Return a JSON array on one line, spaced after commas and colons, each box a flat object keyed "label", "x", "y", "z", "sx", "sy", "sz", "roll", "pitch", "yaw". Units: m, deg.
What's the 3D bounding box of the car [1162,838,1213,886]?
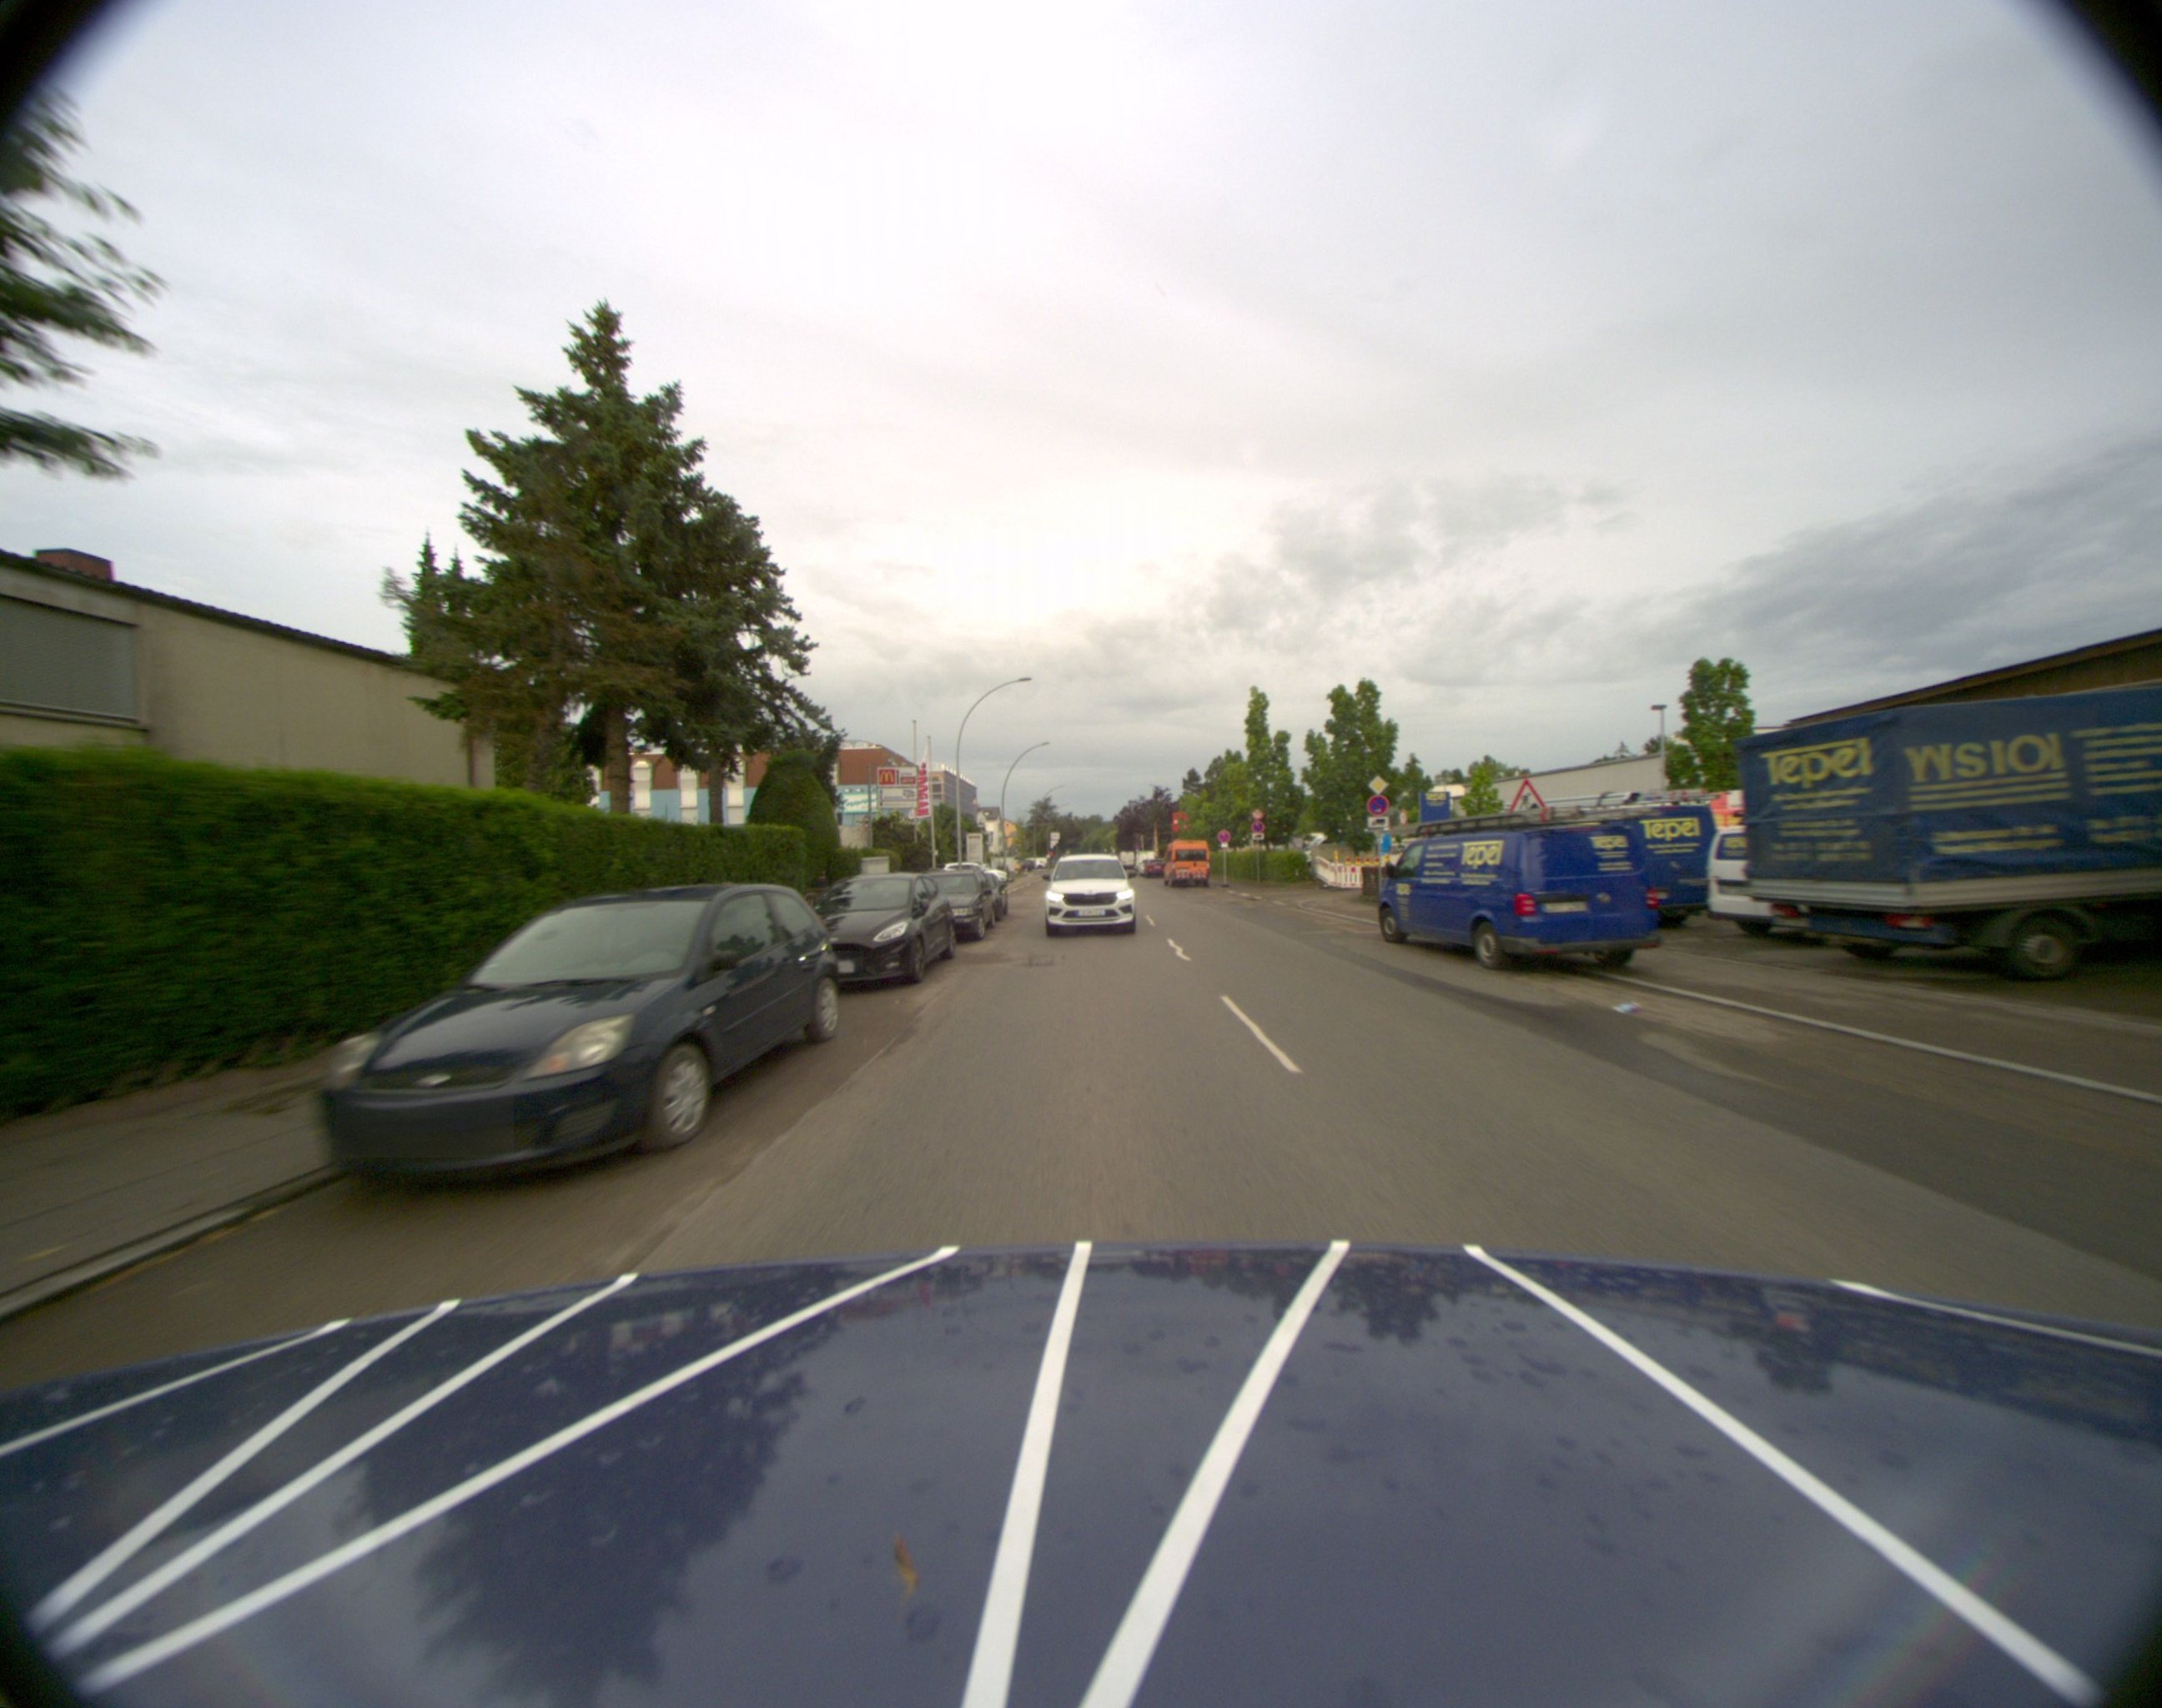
[{"label": "car", "x": 6.060, "y": 0.438, "z": 43.884, "sx": 2.130, "sy": 2.522, "sz": 6.022, "roll": -2, "pitch": 0, "yaw": 1}]

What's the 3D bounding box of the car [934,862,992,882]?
[{"label": "car", "x": -9.670, "y": 1.449, "z": 62.688, "sx": 4.427, "sy": 1.384, "sz": 1.880, "roll": -3, "pitch": 0, "yaw": -1}]

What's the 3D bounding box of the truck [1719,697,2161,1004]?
[{"label": "truck", "x": 11.666, "y": -0.126, "z": 9.054, "sx": 5.926, "sy": 3.056, "sz": 2.449, "roll": -3, "pitch": 1, "yaw": 1}]

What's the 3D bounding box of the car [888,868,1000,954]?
[{"label": "car", "x": -2.836, "y": 1.125, "z": 16.708, "sx": 1.661, "sy": 1.411, "sz": 4.776, "roll": -3, "pitch": 1, "yaw": -2}]

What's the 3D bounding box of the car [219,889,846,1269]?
[{"label": "car", "x": -3.018, "y": 1.089, "z": 5.273, "sx": 1.490, "sy": 1.430, "sz": 3.807, "roll": -3, "pitch": 0, "yaw": 0}]

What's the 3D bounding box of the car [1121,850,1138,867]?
[{"label": "car", "x": 7.037, "y": 0.626, "z": 110.978, "sx": 2.163, "sy": 2.413, "sz": 6.459, "roll": 1, "pitch": 0, "yaw": 1}]

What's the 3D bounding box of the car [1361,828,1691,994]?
[{"label": "car", "x": 6.451, "y": 0.688, "z": 12.002, "sx": 1.998, "sy": 1.936, "sz": 5.365, "roll": -3, "pitch": 0, "yaw": 0}]

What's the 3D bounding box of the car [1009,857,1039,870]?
[{"label": "car", "x": -8.465, "y": 1.464, "z": 112.597, "sx": 4.237, "sy": 1.665, "sz": 1.980, "roll": -3, "pitch": 1, "yaw": 0}]

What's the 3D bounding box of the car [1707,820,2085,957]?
[{"label": "car", "x": 12.142, "y": 0.484, "z": 11.538, "sx": 3.718, "sy": 1.740, "sz": 1.778, "roll": -3, "pitch": 1, "yaw": 2}]

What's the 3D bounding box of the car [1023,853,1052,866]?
[{"label": "car", "x": -7.335, "y": 0.948, "z": 129.007, "sx": 4.743, "sy": 1.875, "sz": 2.000, "roll": -3, "pitch": 1, "yaw": 1}]

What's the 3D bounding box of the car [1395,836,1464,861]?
[{"label": "car", "x": 24.887, "y": -0.416, "z": 54.339, "sx": 4.066, "sy": 1.542, "sz": 1.885, "roll": -3, "pitch": 1, "yaw": -4}]

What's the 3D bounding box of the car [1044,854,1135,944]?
[{"label": "car", "x": 0.119, "y": 0.884, "z": 16.918, "sx": 1.692, "sy": 1.651, "sz": 3.999, "roll": -3, "pitch": 1, "yaw": -1}]

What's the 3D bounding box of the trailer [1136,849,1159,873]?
[{"label": "trailer", "x": 6.562, "y": 0.667, "z": 74.982, "sx": 1.817, "sy": 2.300, "sz": 4.730, "roll": 1, "pitch": 0, "yaw": 0}]

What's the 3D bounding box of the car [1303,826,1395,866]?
[{"label": "car", "x": 14.853, "y": -0.443, "z": 42.236, "sx": 4.317, "sy": 2.002, "sz": 2.062, "roll": -3, "pitch": 1, "yaw": 1}]

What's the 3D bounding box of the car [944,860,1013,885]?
[{"label": "car", "x": -6.939, "y": 1.222, "z": 51.692, "sx": 4.349, "sy": 1.467, "sz": 1.902, "roll": -2, "pitch": 1, "yaw": 0}]

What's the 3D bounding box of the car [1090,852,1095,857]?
[{"label": "car", "x": 3.921, "y": 0.178, "z": 259.960, "sx": 1.898, "sy": 1.678, "sz": 4.231, "roll": 0, "pitch": 1, "yaw": 1}]

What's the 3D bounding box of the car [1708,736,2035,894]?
[{"label": "car", "x": 17.651, "y": -0.779, "z": 17.501, "sx": 2.080, "sy": 2.996, "sz": 5.243, "roll": -3, "pitch": 1, "yaw": 1}]

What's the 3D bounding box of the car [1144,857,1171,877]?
[{"label": "car", "x": 6.373, "y": 1.040, "z": 63.613, "sx": 1.810, "sy": 1.564, "sz": 4.342, "roll": -1, "pitch": 0, "yaw": 0}]

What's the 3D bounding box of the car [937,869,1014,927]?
[{"label": "car", "x": -2.929, "y": 1.180, "z": 21.798, "sx": 1.594, "sy": 1.333, "sz": 4.092, "roll": -4, "pitch": 0, "yaw": -1}]

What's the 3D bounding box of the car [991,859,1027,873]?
[{"label": "car", "x": -8.327, "y": 1.346, "z": 88.041, "sx": 3.997, "sy": 1.422, "sz": 1.630, "roll": -2, "pitch": 0, "yaw": -1}]

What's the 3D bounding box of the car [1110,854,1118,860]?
[{"label": "car", "x": 8.152, "y": 0.756, "z": 189.775, "sx": 1.821, "sy": 1.419, "sz": 4.981, "roll": 0, "pitch": 1, "yaw": 1}]

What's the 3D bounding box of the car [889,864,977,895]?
[{"label": "car", "x": -7.449, "y": 1.282, "z": 38.535, "sx": 3.996, "sy": 1.259, "sz": 1.951, "roll": -3, "pitch": 1, "yaw": 2}]

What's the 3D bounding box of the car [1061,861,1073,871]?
[{"label": "car", "x": -2.243, "y": 1.995, "z": 124.202, "sx": 1.743, "sy": 1.458, "sz": 4.545, "roll": -3, "pitch": 1, "yaw": 0}]

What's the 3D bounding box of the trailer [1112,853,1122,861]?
[{"label": "trailer", "x": 8.046, "y": 0.621, "z": 169.159, "sx": 1.934, "sy": 1.755, "sz": 4.548, "roll": -2, "pitch": 0, "yaw": 1}]

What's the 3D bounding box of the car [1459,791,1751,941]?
[{"label": "car", "x": 10.757, "y": 0.182, "z": 16.469, "sx": 2.080, "sy": 2.552, "sz": 6.201, "roll": -3, "pitch": 1, "yaw": 1}]

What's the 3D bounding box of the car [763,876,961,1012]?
[{"label": "car", "x": -2.886, "y": 1.116, "z": 10.873, "sx": 1.661, "sy": 1.440, "sz": 3.829, "roll": -3, "pitch": 0, "yaw": 0}]

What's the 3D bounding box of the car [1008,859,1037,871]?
[{"label": "car", "x": -8.509, "y": 1.612, "z": 110.349, "sx": 3.976, "sy": 1.481, "sz": 1.833, "roll": -2, "pitch": 0, "yaw": 2}]

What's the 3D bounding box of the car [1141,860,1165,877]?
[{"label": "car", "x": 6.440, "y": 1.293, "z": 68.372, "sx": 1.777, "sy": 1.490, "sz": 4.137, "roll": -2, "pitch": -1, "yaw": 0}]

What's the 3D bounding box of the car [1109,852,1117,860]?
[{"label": "car", "x": 8.145, "y": 0.479, "z": 195.035, "sx": 1.898, "sy": 1.881, "sz": 5.210, "roll": 0, "pitch": 1, "yaw": 1}]

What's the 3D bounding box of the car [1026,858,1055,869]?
[{"label": "car", "x": -6.547, "y": 1.516, "z": 123.747, "sx": 4.456, "sy": 1.615, "sz": 1.893, "roll": -3, "pitch": 1, "yaw": 0}]
